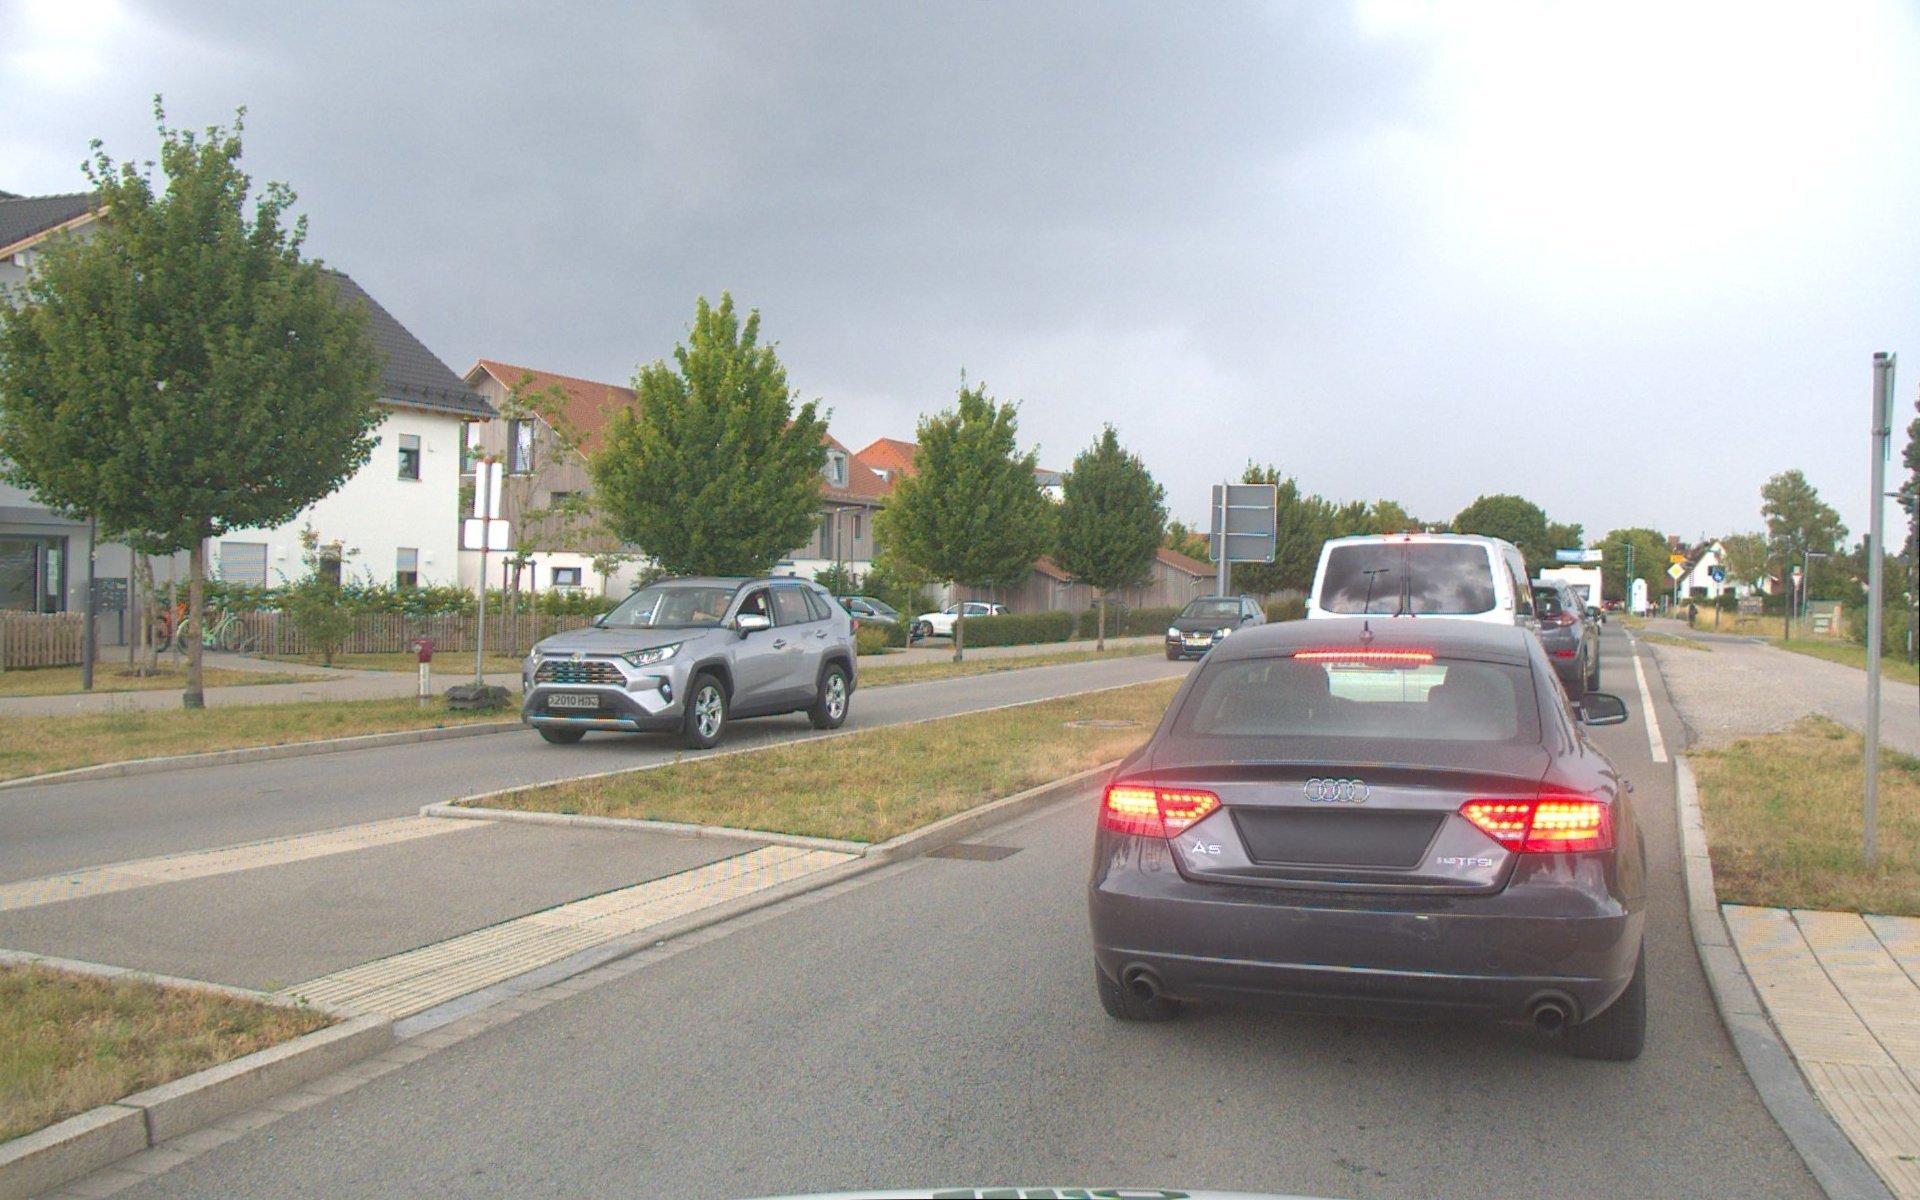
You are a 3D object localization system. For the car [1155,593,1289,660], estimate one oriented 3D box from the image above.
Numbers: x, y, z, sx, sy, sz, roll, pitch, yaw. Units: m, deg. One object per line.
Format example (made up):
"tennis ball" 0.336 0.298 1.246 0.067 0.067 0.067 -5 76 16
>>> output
"car" 6.186 0.572 38.641 1.720 1.441 4.449 2 1 28

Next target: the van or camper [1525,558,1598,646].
"van or camper" 24.675 0.104 67.669 2.571 3.381 6.821 2 0 21

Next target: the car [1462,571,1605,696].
"car" 8.351 0.447 23.899 1.740 1.646 4.000 -1 0 22

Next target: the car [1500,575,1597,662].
"car" 12.071 0.355 33.794 1.740 1.646 4.000 1 0 21

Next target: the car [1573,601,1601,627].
"car" 40.986 0.910 108.126 1.581 1.659 3.615 2 1 22

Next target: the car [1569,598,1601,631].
"car" 36.411 0.835 96.337 1.581 1.825 3.999 2 1 22

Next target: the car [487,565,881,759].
"car" -2.664 0.548 17.244 1.952 1.733 4.635 0 0 21

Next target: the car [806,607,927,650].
"car" -3.287 0.992 58.343 3.833 1.338 1.843 2 1 20

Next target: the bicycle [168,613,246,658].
"bicycle" -15.124 0.702 33.231 0.360 0.857 1.546 4 1 23

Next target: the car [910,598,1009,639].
"car" -0.003 0.747 67.319 3.652 1.507 1.687 2 1 19

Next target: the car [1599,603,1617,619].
"car" 64.675 1.090 165.026 1.581 1.433 3.615 2 1 22

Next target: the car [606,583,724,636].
"car" -10.668 0.338 60.123 1.955 1.803 4.460 1 0 27

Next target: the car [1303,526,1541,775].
"car" 4.388 0.384 15.383 1.828 1.968 4.001 1 1 19

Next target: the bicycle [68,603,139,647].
"bicycle" -17.716 0.504 34.236 0.360 0.857 1.337 4 1 23

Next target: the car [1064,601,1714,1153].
"car" 1.810 0.720 6.537 1.747 1.416 4.134 0 0 19

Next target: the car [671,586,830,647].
"car" -6.418 0.484 50.647 4.441 1.709 1.998 2 1 25

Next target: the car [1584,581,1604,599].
"car" 79.621 -1.265 207.762 1.955 2.250 3.996 2 1 26

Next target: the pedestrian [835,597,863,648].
"pedestrian" -3.504 0.700 52.185 0.645 1.586 0.583 1 0 25
